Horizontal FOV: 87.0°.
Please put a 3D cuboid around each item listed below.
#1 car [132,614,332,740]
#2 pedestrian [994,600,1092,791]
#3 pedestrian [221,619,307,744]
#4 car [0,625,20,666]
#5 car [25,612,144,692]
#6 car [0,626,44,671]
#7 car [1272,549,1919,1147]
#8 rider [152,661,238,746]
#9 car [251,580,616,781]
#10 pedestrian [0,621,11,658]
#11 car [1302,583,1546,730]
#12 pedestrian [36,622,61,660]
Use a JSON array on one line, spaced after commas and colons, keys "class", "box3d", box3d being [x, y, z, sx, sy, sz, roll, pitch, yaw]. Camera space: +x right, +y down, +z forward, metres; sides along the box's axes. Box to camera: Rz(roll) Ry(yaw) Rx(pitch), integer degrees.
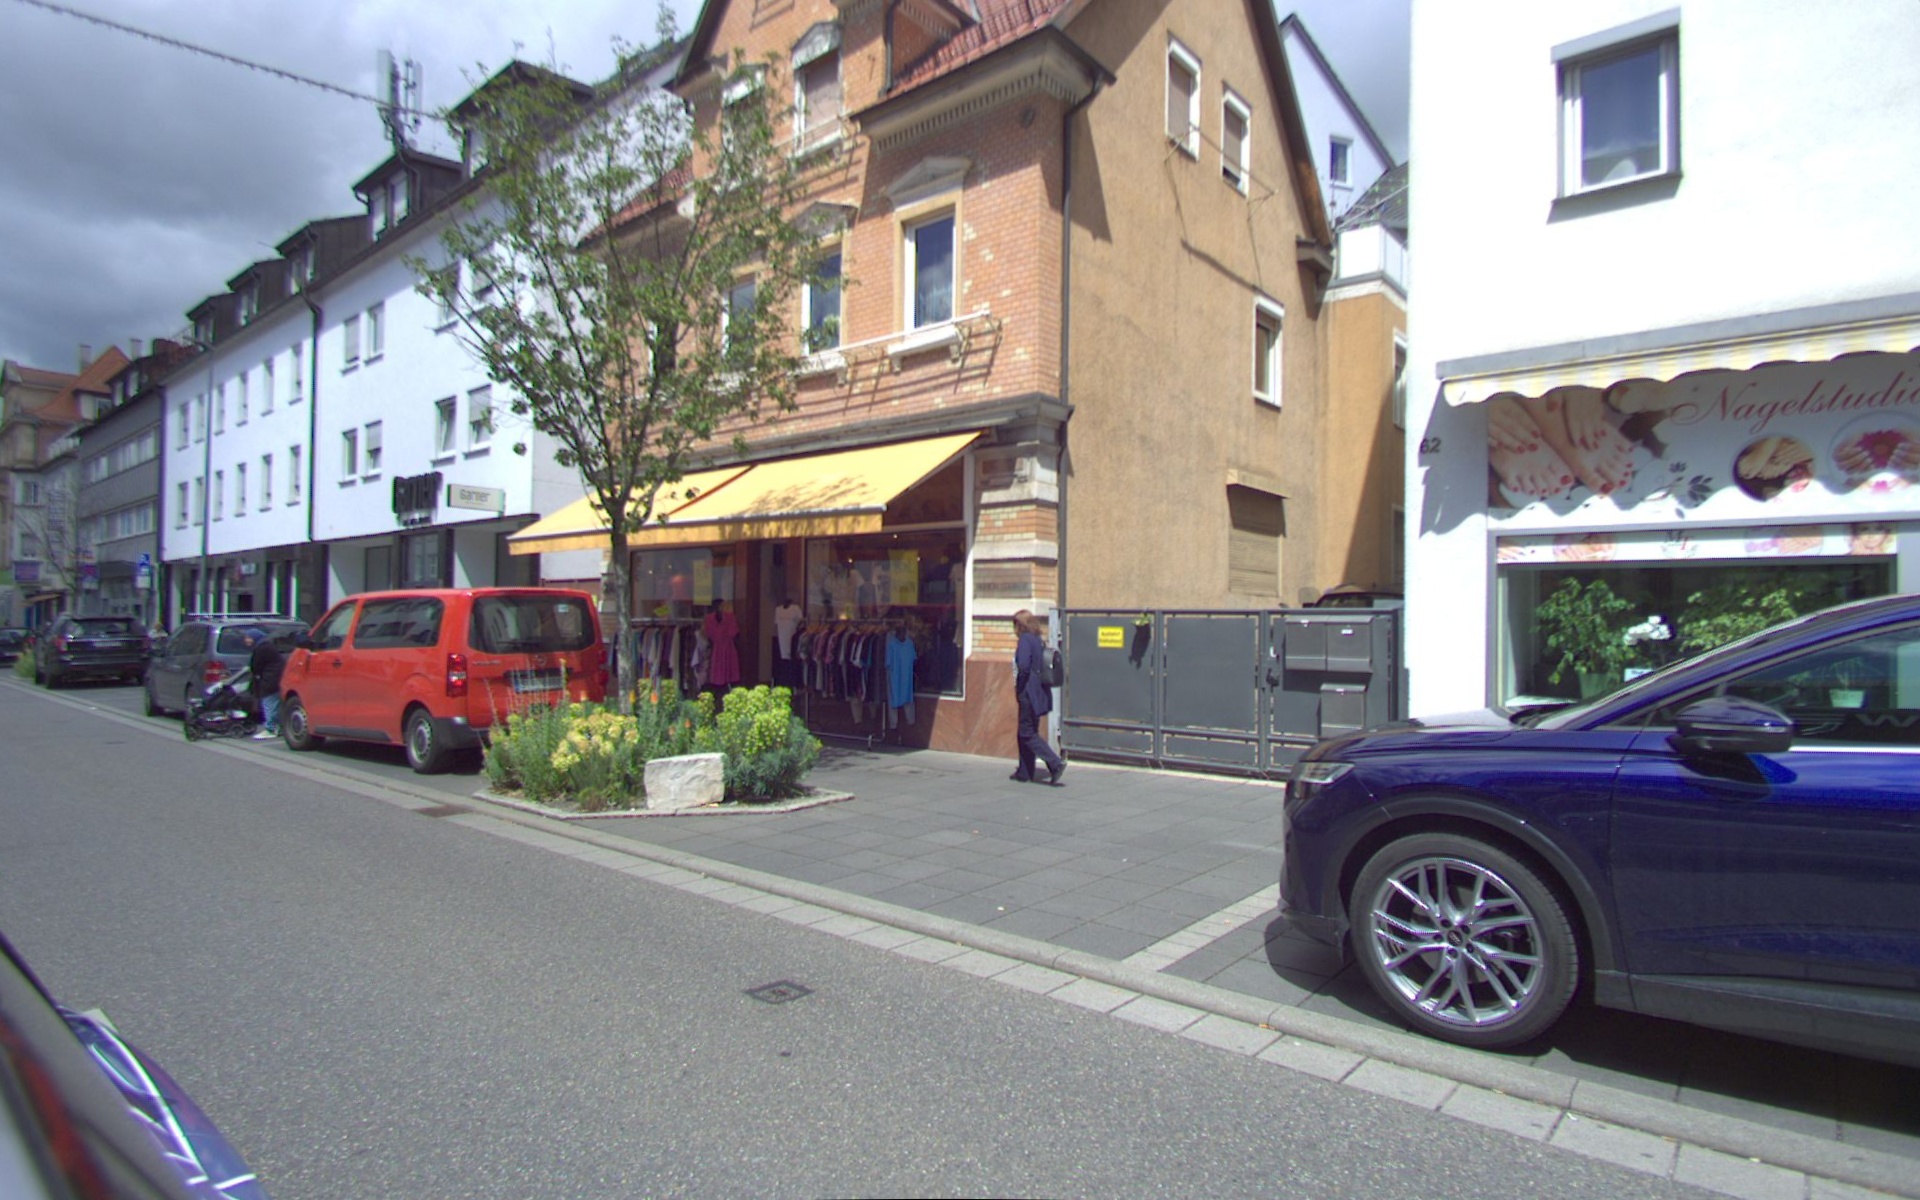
[{"class": "car", "box3d": [-12.085, 1.132, 16.684, 4.463, 1.768, 1.797, 0, 0, 42]}, {"class": "pedestrian", "box3d": [0.750, 0.821, 9.165, 0.661, 1.645, 0.582, 0, 0, 41]}, {"class": "pedestrian", "box3d": [-9.349, 1.062, 13.597, 0.779, 1.586, 0.797, -1, 0, 43]}, {"class": "car", "box3d": [-39.132, 1.808, 40.503, 4.711, 1.524, 1.771, 0, 0, 41]}, {"class": "car", "box3d": [-21.654, 1.191, 24.972, 4.670, 1.768, 1.796, 0, 0, 44]}, {"class": "car", "box3d": [-34.338, 1.711, 36.219, 4.175, 1.515, 1.772, -1, 0, 40]}, {"class": "car", "box3d": [3.445, 0.671, 3.161, 4.387, 1.610, 1.780, -1, -2, 41]}, {"class": "rider", "box3d": [-10.113, 1.349, 13.379, 0.707, 1.021, 0.795, 0, 0, 43]}, {"class": "car", "box3d": [-6.236, 0.771, 11.752, 4.831, 1.903, 1.800, 0, 0, 36]}, {"class": "pedestrian", "box3d": [-46.777, 1.924, 49.392, 0.728, 1.770, 0.543, 0, 0, 38]}, {"class": "car", "box3d": [6.314, 0.629, 13.546, 1.999, 1.652, 3.946, 0, 0, 40]}, {"class": "pedestrian", "box3d": [-40.816, 1.829, 45.324, 0.650, 1.630, 0.725, 0, 0, 36]}]
